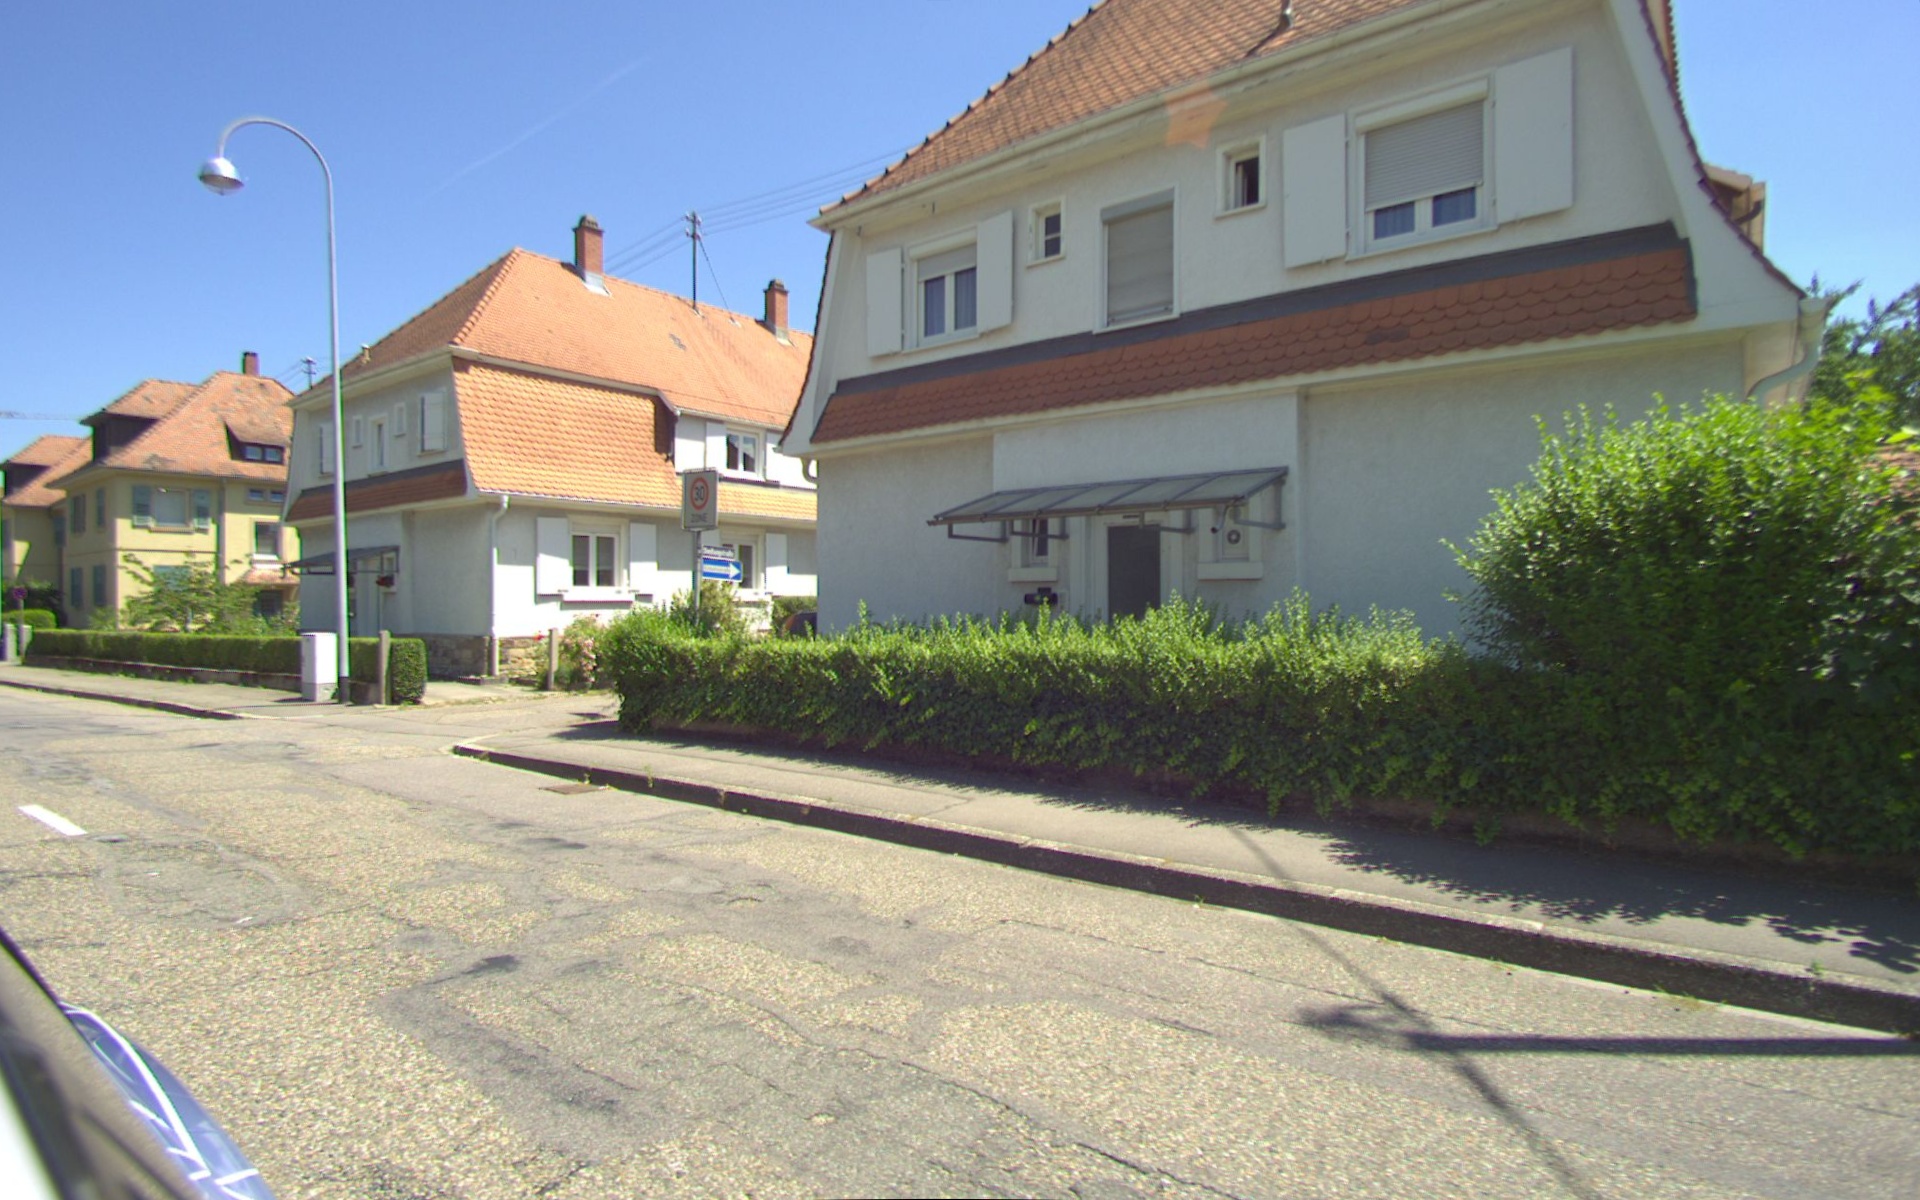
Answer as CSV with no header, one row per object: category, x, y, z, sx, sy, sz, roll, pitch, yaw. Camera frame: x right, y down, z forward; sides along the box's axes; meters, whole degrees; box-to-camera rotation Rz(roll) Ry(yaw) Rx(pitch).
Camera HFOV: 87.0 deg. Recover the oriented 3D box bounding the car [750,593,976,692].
car,-1.499,0.691,16.832,1.770,1.435,3.759,-2,-2,34
